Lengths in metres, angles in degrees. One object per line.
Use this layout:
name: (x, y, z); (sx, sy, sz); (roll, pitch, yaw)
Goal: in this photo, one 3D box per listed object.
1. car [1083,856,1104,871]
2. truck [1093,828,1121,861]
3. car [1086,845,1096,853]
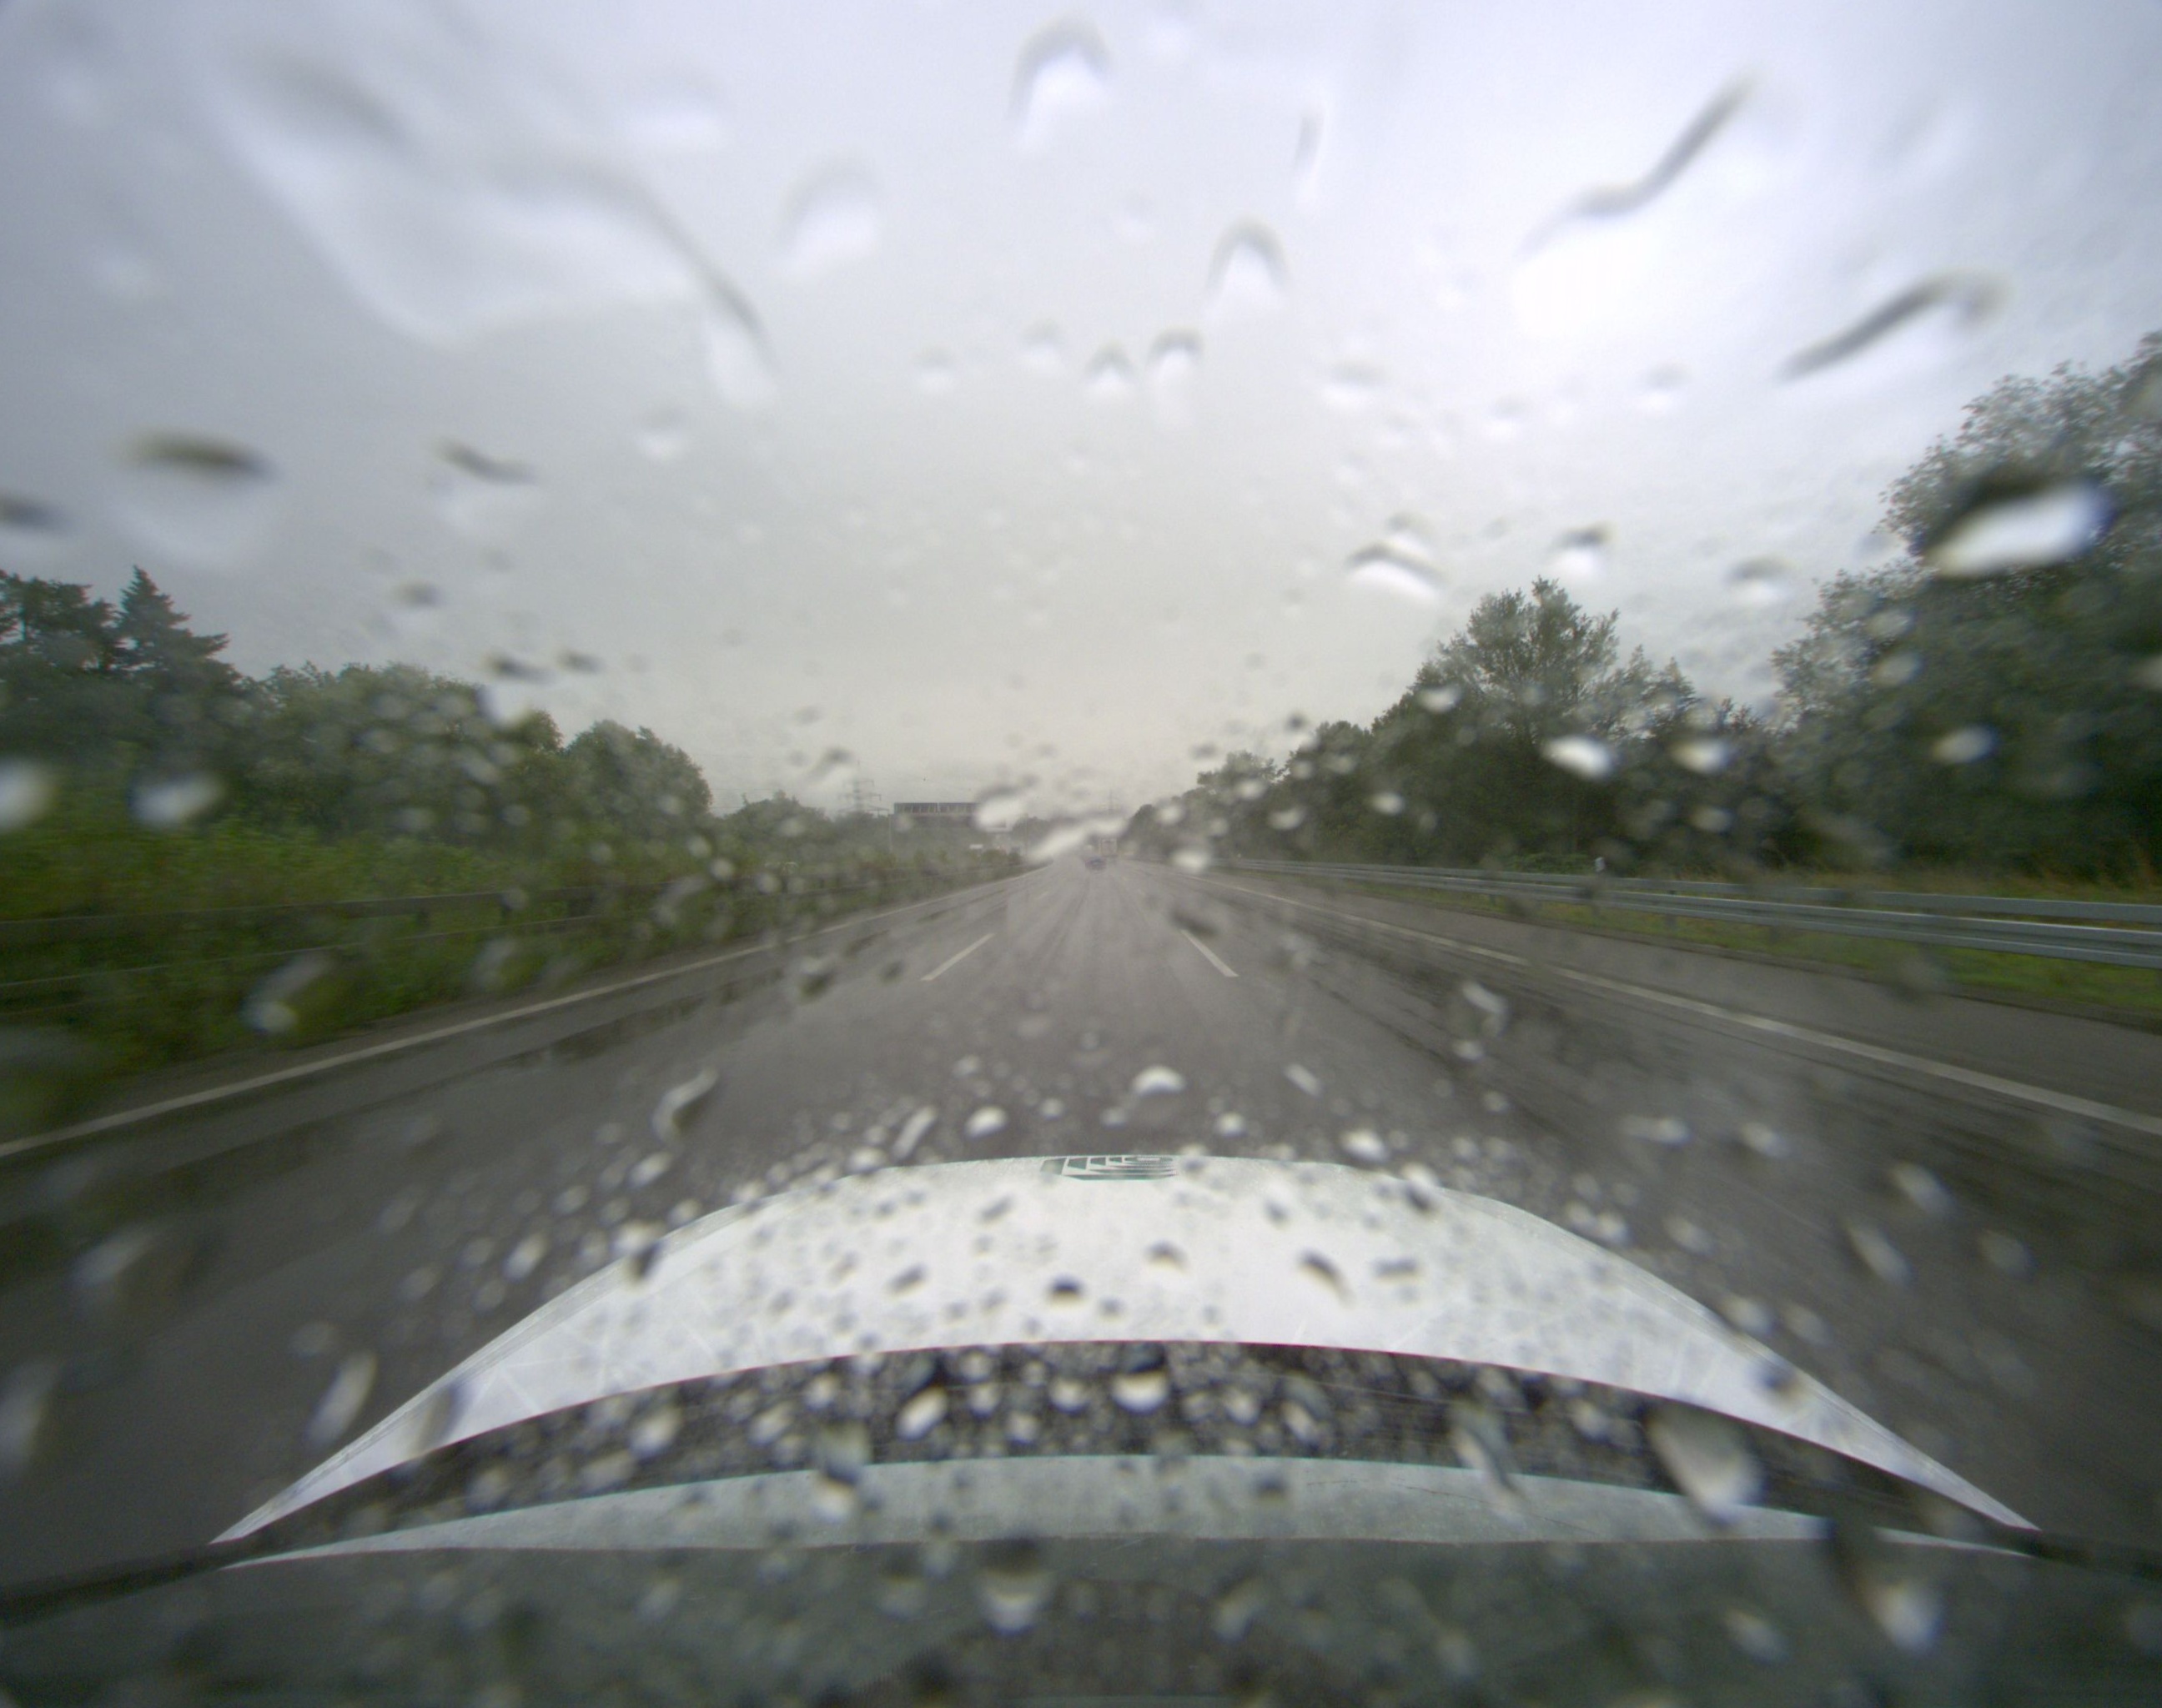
car: (1.112, 0.836, 71.140); (1.742, 1.212, 4.002); (1, 0, 2)
truck: (4.250, -1.652, 136.590); (4.242, 4.971, 17.344); (-3, 1, 1)
car: (2.789, -1.497, 227.963); (2.389, 2.272, 4.995); (0, 1, -5)
